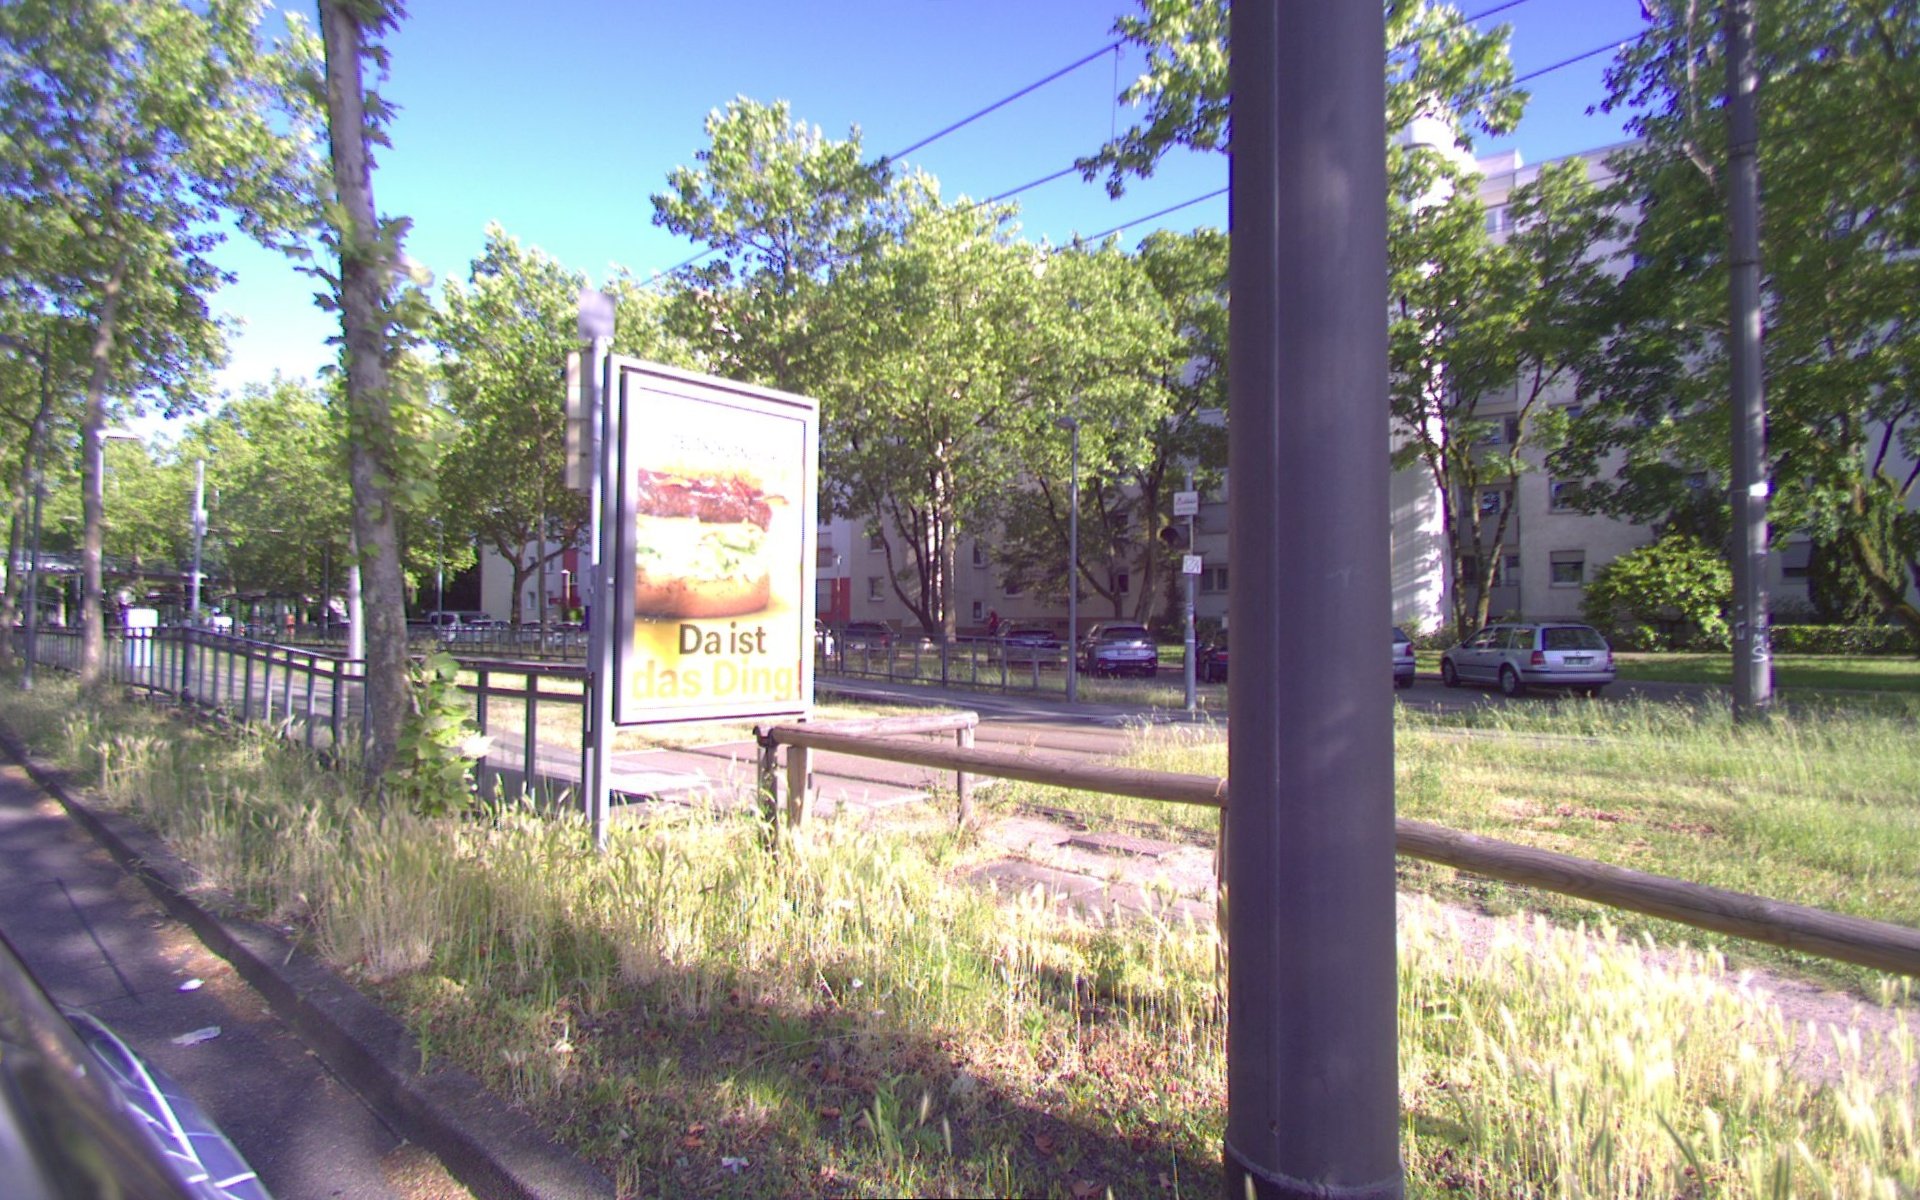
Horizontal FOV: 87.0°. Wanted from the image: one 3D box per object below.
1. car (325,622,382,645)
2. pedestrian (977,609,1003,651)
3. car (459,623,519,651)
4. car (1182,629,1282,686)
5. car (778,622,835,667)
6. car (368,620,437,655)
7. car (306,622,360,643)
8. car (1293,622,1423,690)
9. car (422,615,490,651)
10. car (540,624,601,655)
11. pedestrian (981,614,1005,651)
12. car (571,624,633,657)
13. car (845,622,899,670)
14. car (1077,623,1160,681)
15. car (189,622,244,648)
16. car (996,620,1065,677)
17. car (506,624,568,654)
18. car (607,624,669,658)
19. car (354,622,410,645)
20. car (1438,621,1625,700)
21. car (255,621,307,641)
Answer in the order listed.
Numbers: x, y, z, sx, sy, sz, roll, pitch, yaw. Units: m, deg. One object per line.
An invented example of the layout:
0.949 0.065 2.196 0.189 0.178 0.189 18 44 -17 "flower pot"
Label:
-40.825 2.232 68.186 1.633 1.452 3.805 -1 -1 -2 "car"
1.278 1.240 42.740 0.786 1.745 0.755 -1 0 39 "pedestrian"
-25.857 2.004 55.656 1.633 1.452 3.805 -1 -1 -2 "car"
6.691 1.380 25.275 1.445 1.234 3.815 -1 -1 0 "car"
-5.550 1.572 37.015 1.633 1.522 3.805 -1 -1 -2 "car"
-27.018 1.804 49.001 4.293 1.631 1.634 -2 -1 42 "car"
-44.966 2.293 72.675 1.633 1.452 3.805 -1 -1 -2 "car"
9.159 1.241 23.588 1.559 1.413 3.638 -1 -1 0 "car"
-28.439 1.829 57.250 1.814 1.888 4.323 -1 -1 -2 "car"
-19.031 1.901 49.536 1.633 1.452 3.805 -1 -1 -2 "car"
1.488 1.437 45.506 0.786 1.635 0.755 -1 0 39 "pedestrian"
-16.612 1.859 47.155 1.633 1.452 3.805 -1 -1 -2 "car"
-2.960 1.530 34.646 1.633 1.522 3.805 -1 -1 -2 "car"
4.233 1.367 27.517 1.633 1.413 3.803 -1 -1 0 "car"
-53.400 2.507 72.648 4.893 1.835 1.810 -1 -1 37 "car"
1.999 1.357 29.664 1.633 1.522 3.805 -1 -1 -2 "car"
-21.323 1.944 51.179 1.633 1.452 3.805 -1 -1 -2 "car"
-14.048 1.769 44.333 1.633 1.366 3.805 -1 -1 -2 "car"
-37.871 2.178 66.373 1.633 1.452 3.805 -1 -1 -2 "car"
11.490 1.163 20.663 1.559 1.413 3.906 -1 -1 0 "car"
-53.037 2.408 79.147 1.633 1.452 3.805 -1 -1 -2 "car"
